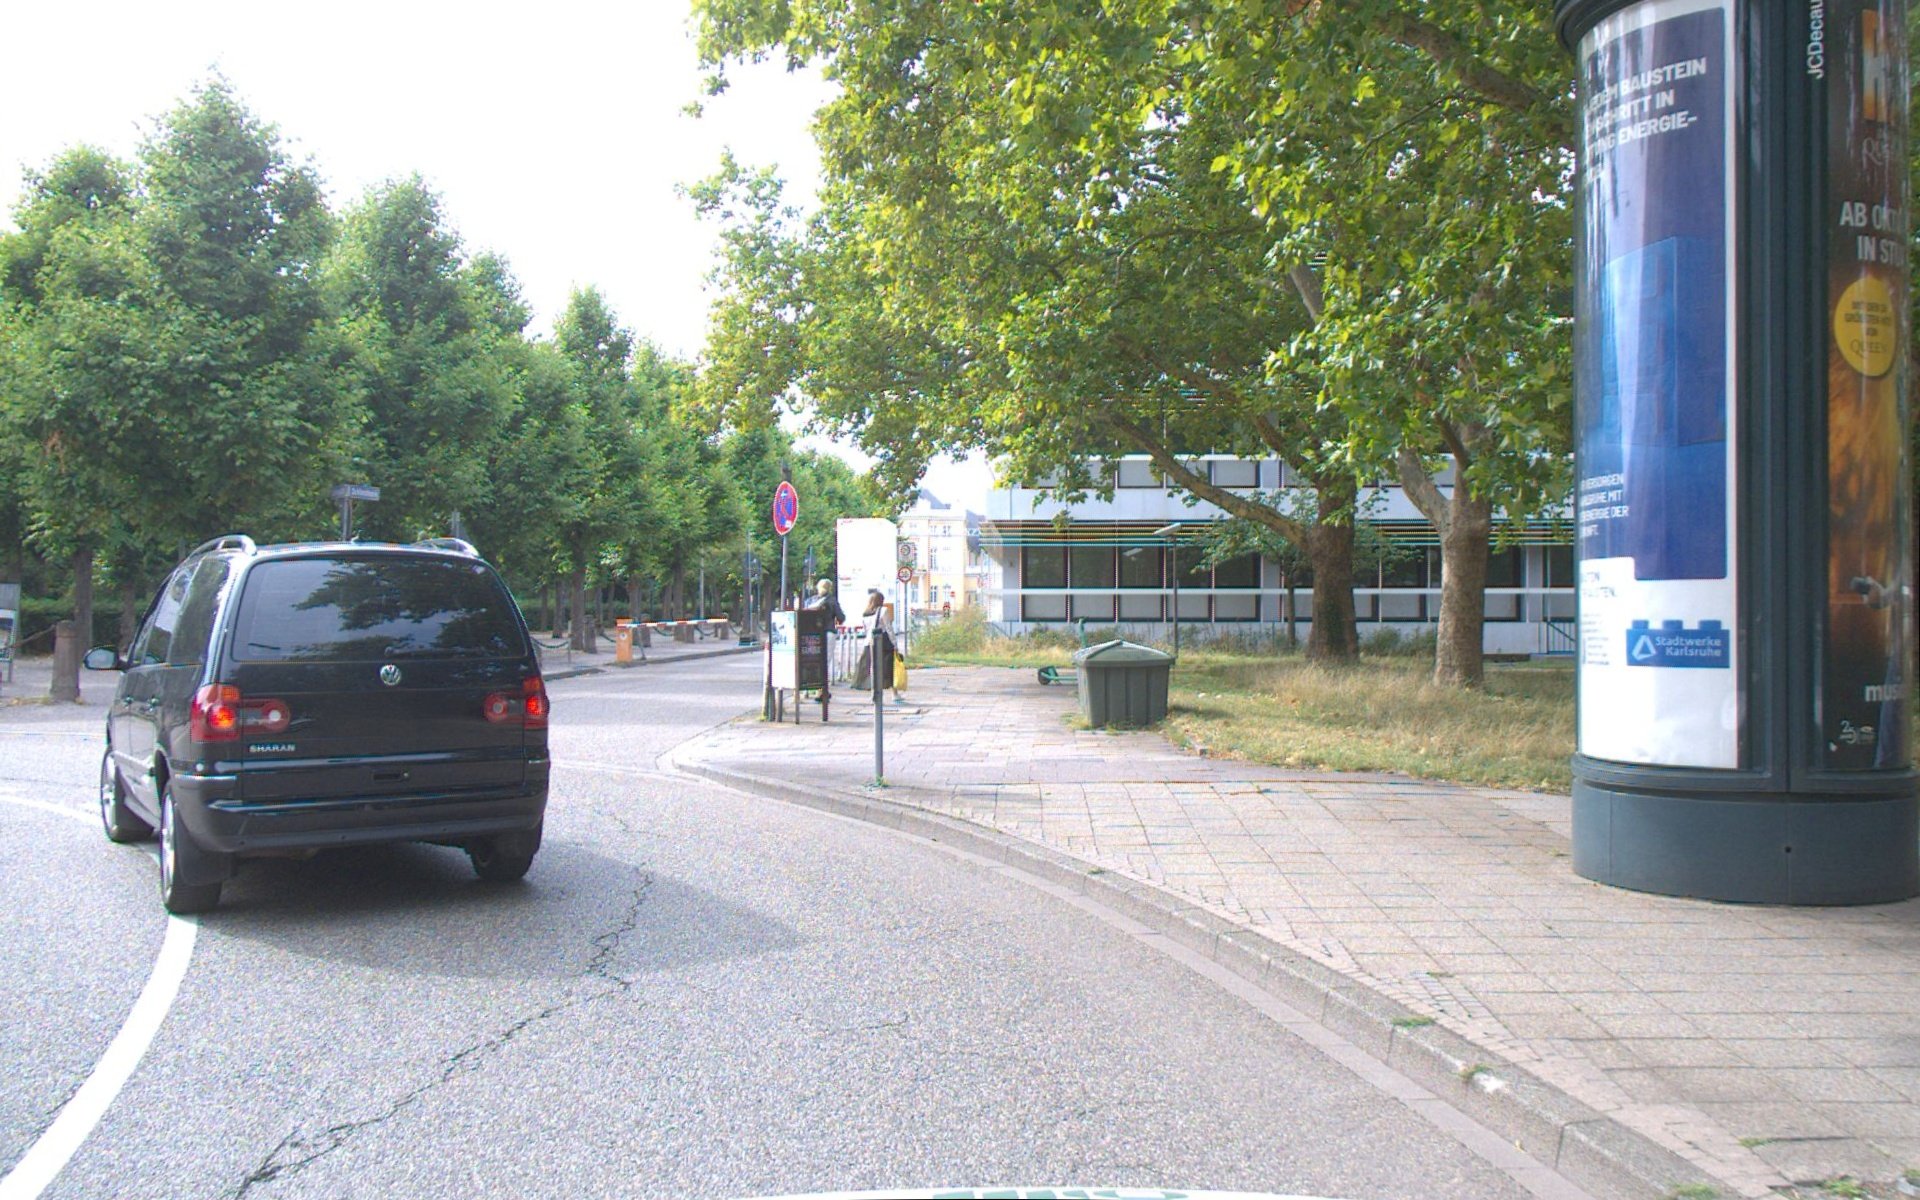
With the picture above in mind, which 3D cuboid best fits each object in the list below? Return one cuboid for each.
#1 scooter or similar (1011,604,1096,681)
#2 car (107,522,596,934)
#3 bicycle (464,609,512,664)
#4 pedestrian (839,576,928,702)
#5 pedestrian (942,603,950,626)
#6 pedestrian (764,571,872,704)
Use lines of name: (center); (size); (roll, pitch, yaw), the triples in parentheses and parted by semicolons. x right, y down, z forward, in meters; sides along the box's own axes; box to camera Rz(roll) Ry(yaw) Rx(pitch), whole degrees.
scooter or similar: (1.618, 0.738, 28.750); (1.420, 1.291, 0.570); (1, 0, -2)
car: (-3.570, 0.535, 9.204); (1.776, 1.738, 4.085); (0, 0, -32)
bicycle: (-10.577, 0.807, 37.138); (0.936, 1.129, 2.570); (1, 0, -14)
pedestrian: (-1.053, 0.525, 22.853); (0.879, 1.670, 0.851); (1, 0, 29)
pedestrian: (-1.042, 1.066, 120.945); (0.451, 1.653, 0.630); (1, 0, -11)
pedestrian: (-1.955, 0.506, 22.941); (0.941, 1.772, 1.254); (1, 0, 27)
